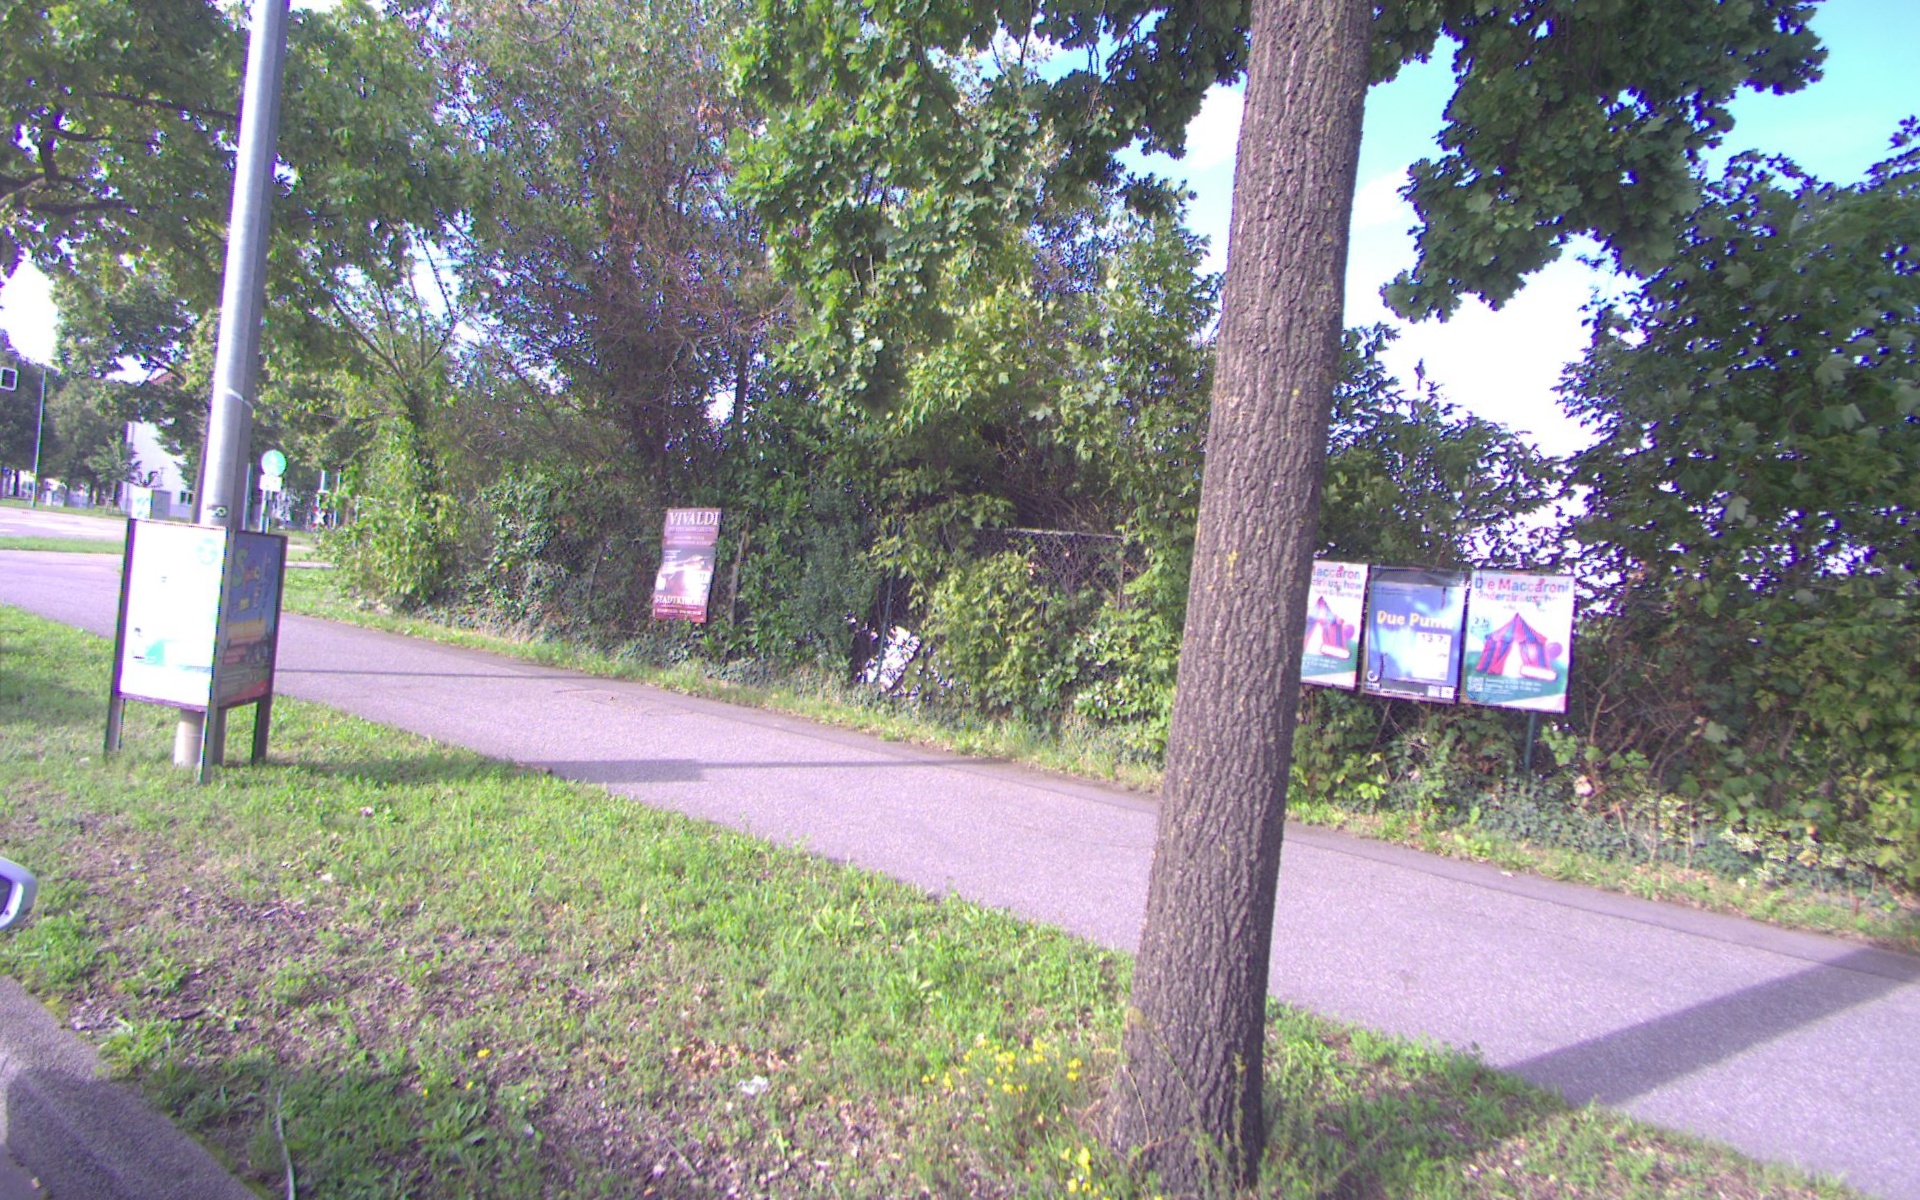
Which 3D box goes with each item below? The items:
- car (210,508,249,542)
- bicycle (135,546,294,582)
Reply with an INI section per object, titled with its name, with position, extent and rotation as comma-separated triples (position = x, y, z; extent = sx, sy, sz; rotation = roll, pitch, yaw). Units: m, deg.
[car]
position = -41.060, -4.226, 56.518
extent = 1.562, 1.593, 3.164
rotation = 7, 0, -38
[bicycle]
position = -14.904, -0.718, 20.127
extent = 2.529, 0.390, 1.411
rotation = 7, 0, 21
